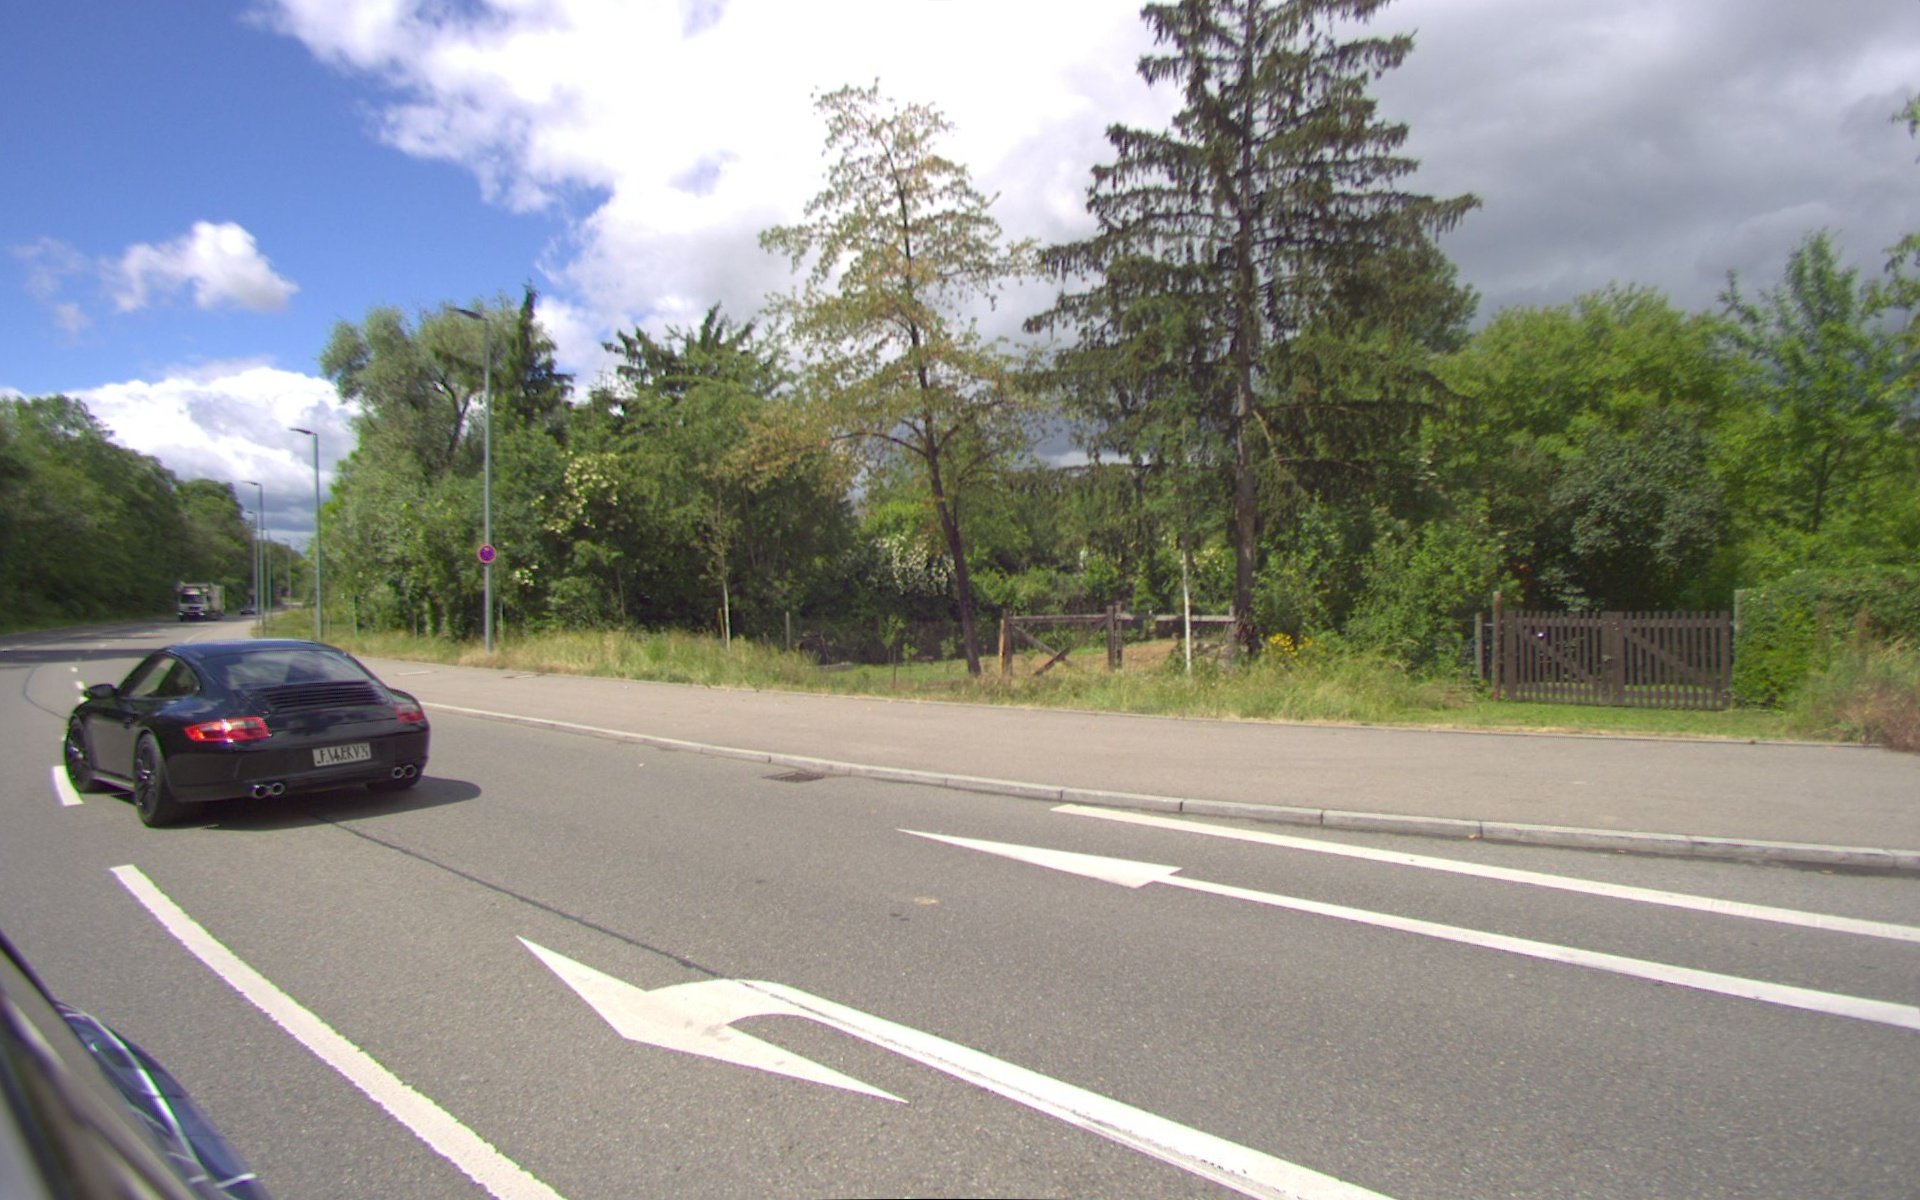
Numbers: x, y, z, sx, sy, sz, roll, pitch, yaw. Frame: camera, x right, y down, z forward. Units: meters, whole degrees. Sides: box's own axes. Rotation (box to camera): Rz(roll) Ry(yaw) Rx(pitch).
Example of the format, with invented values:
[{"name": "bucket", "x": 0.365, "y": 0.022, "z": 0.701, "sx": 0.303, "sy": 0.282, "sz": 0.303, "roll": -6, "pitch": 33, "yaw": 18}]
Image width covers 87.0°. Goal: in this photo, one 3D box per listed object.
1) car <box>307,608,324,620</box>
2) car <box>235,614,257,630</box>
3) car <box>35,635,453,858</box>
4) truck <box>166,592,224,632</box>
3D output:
[{"name": "car", "x": -97.201, "y": 2.076, "z": 152.697, "sx": 1.773, "sy": 1.674, "sz": 4.013, "roll": 1, "pitch": 0, "yaw": -28}, {"name": "car", "x": -93.470, "y": 2.870, "z": 132.492, "sx": 1.965, "sy": 2.029, "sz": 4.013, "roll": 1, "pitch": 0, "yaw": -29}, {"name": "car", "x": -5.987, "y": 0.987, "z": 8.302, "sx": 3.998, "sy": 1.311, "sz": 1.718, "roll": -1, "pitch": 0, "yaw": 38}, {"name": "truck", "x": -78.856, "y": 1.166, "z": 104.486, "sx": 3.187, "sy": 3.889, "sz": 9.905, "roll": 1, "pitch": 0, "yaw": -28}]
